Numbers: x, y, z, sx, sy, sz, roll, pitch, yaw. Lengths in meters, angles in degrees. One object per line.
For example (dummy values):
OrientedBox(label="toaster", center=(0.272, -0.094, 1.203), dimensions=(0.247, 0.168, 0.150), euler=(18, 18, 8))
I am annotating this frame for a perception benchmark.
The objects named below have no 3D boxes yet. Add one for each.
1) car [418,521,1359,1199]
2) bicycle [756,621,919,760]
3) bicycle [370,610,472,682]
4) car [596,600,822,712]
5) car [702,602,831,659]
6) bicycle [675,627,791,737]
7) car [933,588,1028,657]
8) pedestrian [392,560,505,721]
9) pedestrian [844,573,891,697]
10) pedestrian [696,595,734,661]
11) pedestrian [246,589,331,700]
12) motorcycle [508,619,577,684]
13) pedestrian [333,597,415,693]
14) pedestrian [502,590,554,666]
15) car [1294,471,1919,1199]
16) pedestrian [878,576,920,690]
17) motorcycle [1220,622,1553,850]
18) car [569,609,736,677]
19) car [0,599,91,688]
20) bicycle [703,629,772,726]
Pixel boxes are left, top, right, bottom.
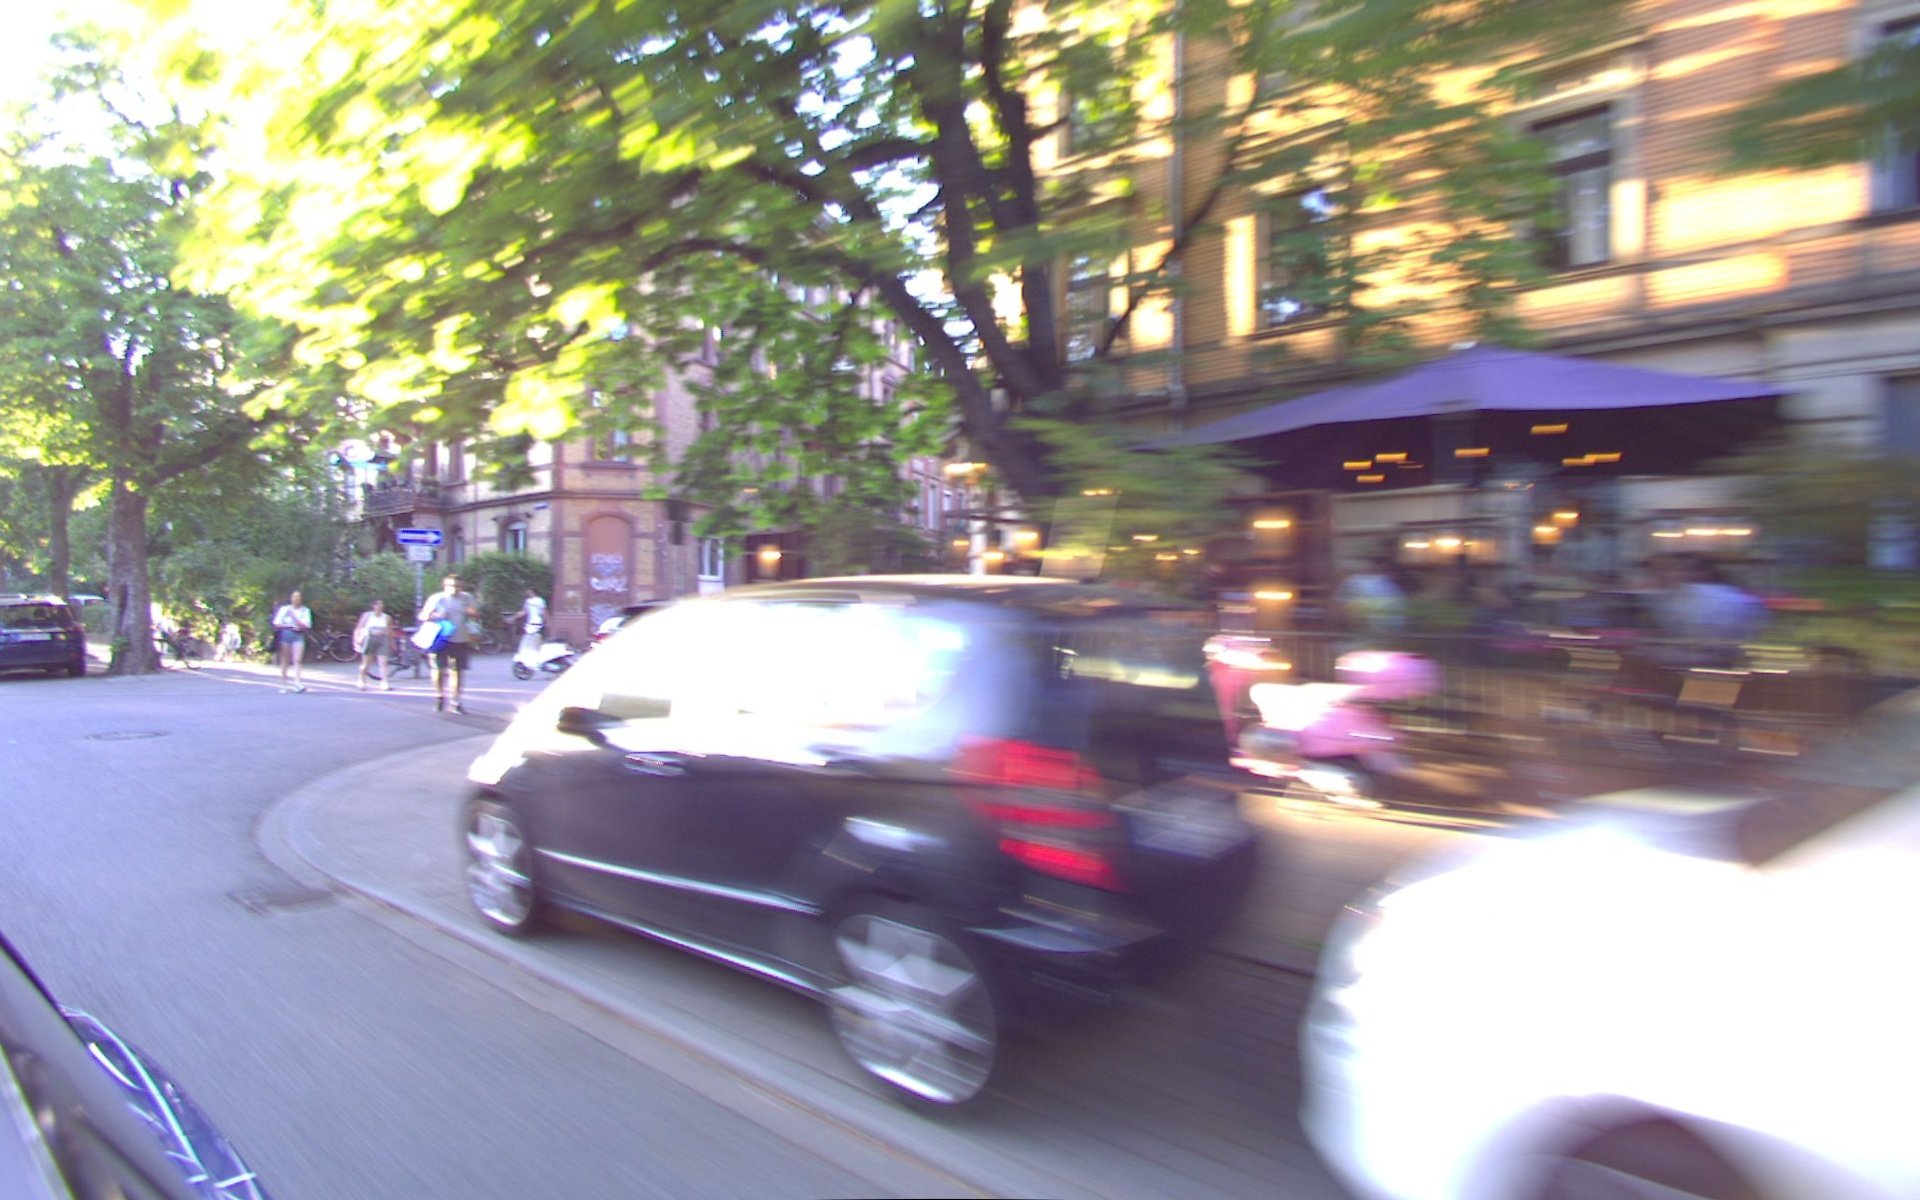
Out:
OrientedBox(label="car", center=(-0.563, 0.656, 4.267), dimensions=(3.843, 1.690, 1.648), euler=(-1, 1, 39))
OrientedBox(label="bicycle", center=(-1.223, 0.815, 9.748), dimensions=(1.957, 1.194, 0.387), euler=(-1, 2, 44))
OrientedBox(label="bicycle", center=(-10.997, 0.907, 20.672), dimensions=(1.772, 1.403, 0.519), euler=(0, 1, -39))
OrientedBox(label="car", center=(-3.849, 0.833, 16.163), dimensions=(1.621, 1.557, 3.830), euler=(-1, -2, 21))
OrientedBox(label="car", center=(-5.375, 0.859, 28.716), dimensions=(1.567, 1.470, 4.394), euler=(-1, -2, 20))
OrientedBox(label="bicycle", center=(-2.599, 0.888, 11.461), dimensions=(1.746, 1.152, 0.387), euler=(-1, -1, 44))
OrientedBox(label="car", center=(0.641, 0.645, 28.775), dimensions=(1.676, 1.837, 3.465), euler=(-1, -2, 20))
OrientedBox(label="pedestrian", center=(-6.747, 0.522, 13.387), dimensions=(1.002, 2.029, 0.863), euler=(0, -1, 21))
OrientedBox(label="pedestrian", center=(-1.112, 0.419, 12.151), dimensions=(0.458, 1.462, 0.428), euler=(-1, -2, 9))
OrientedBox(label="pedestrian", center=(-7.101, 0.790, 29.284), dimensions=(0.688, 1.837, 0.782), euler=(4, 3, 43))
OrientedBox(label="pedestrian", center=(-11.494, 0.743, 17.337), dimensions=(1.000, 1.849, 0.684), euler=(0, -1, 15))
OrientedBox(label="motorcycle", center=(-8.540, 1.038, 20.665), dimensions=(1.859, 1.266, 0.466), euler=(-2, -2, 39))
OrientedBox(label="pedestrian", center=(-10.262, 0.771, 17.743), dimensions=(1.043, 1.643, 0.684), euler=(0, -1, 15))
OrientedBox(label="pedestrian", center=(-10.901, 0.696, 25.545), dimensions=(0.777, 1.837, 0.916), euler=(3, 2, 29))
OrientedBox(label="car", center=(2.629, 0.523, 1.478), dimensions=(3.707, 1.504, 1.648), euler=(-1, 1, 40))
OrientedBox(label="pedestrian", center=(-0.803, 0.435, 13.309), dimensions=(0.458, 1.462, 0.428), euler=(-1, -2, 9))
OrientedBox(label="motorcycle", center=(2.576, 0.756, 6.353), dimensions=(0.386, 1.194, 1.960), euler=(-1, 1, -39))
OrientedBox(label="car", center=(-7.166, 0.994, 24.029), dimensions=(1.774, 1.470, 3.991), euler=(-1, -2, 20))
OrientedBox(label="car", center=(-20.018, 0.880, 21.349), dimensions=(4.588, 1.700, 1.847), euler=(-1, 0, 40))
OrientedBox(label="bicycle", center=(-2.741, 0.921, 12.605), dimensions=(0.387, 1.107, 1.827), euler=(-1, -2, 2))
